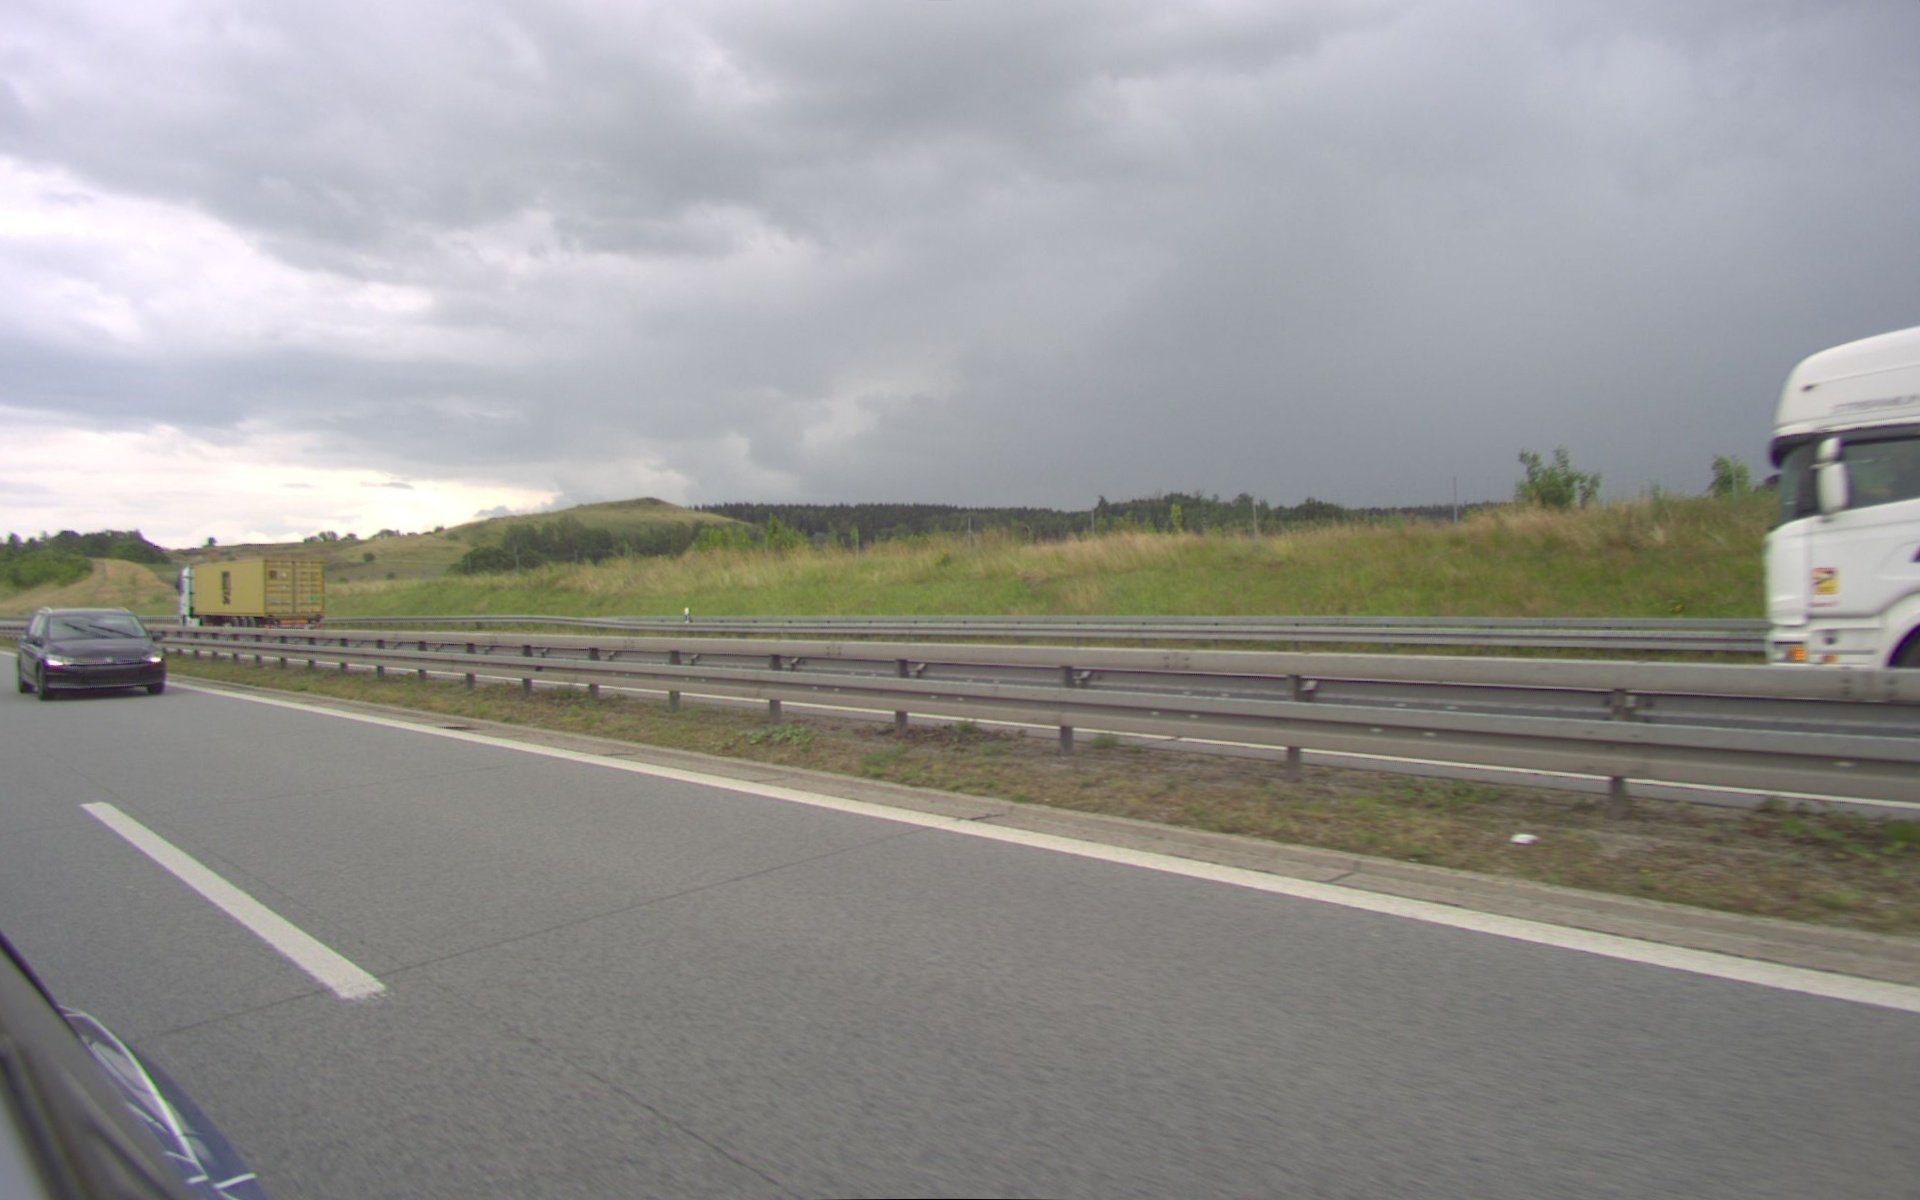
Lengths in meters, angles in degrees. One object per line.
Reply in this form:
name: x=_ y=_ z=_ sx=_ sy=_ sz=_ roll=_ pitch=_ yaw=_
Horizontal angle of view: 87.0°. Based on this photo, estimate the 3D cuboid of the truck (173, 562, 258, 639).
truck: x=-40.347 y=0.056 z=54.802 sx=5.585 sy=3.955 sz=2.565 roll=-1 pitch=0 yaw=41

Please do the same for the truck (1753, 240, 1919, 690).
truck: x=10.622 y=-1.231 z=8.932 sx=5.515 sy=3.955 sz=2.921 roll=-1 pitch=0 yaw=41

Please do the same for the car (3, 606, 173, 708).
car: x=-16.991 y=1.001 z=19.604 sx=5.396 sy=1.683 sz=1.876 roll=-1 pitch=0 yaw=43

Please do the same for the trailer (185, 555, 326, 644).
trailer: x=-35.340 y=0.077 z=50.378 sx=13.695 sy=3.955 sz=2.563 roll=-1 pitch=0 yaw=41
